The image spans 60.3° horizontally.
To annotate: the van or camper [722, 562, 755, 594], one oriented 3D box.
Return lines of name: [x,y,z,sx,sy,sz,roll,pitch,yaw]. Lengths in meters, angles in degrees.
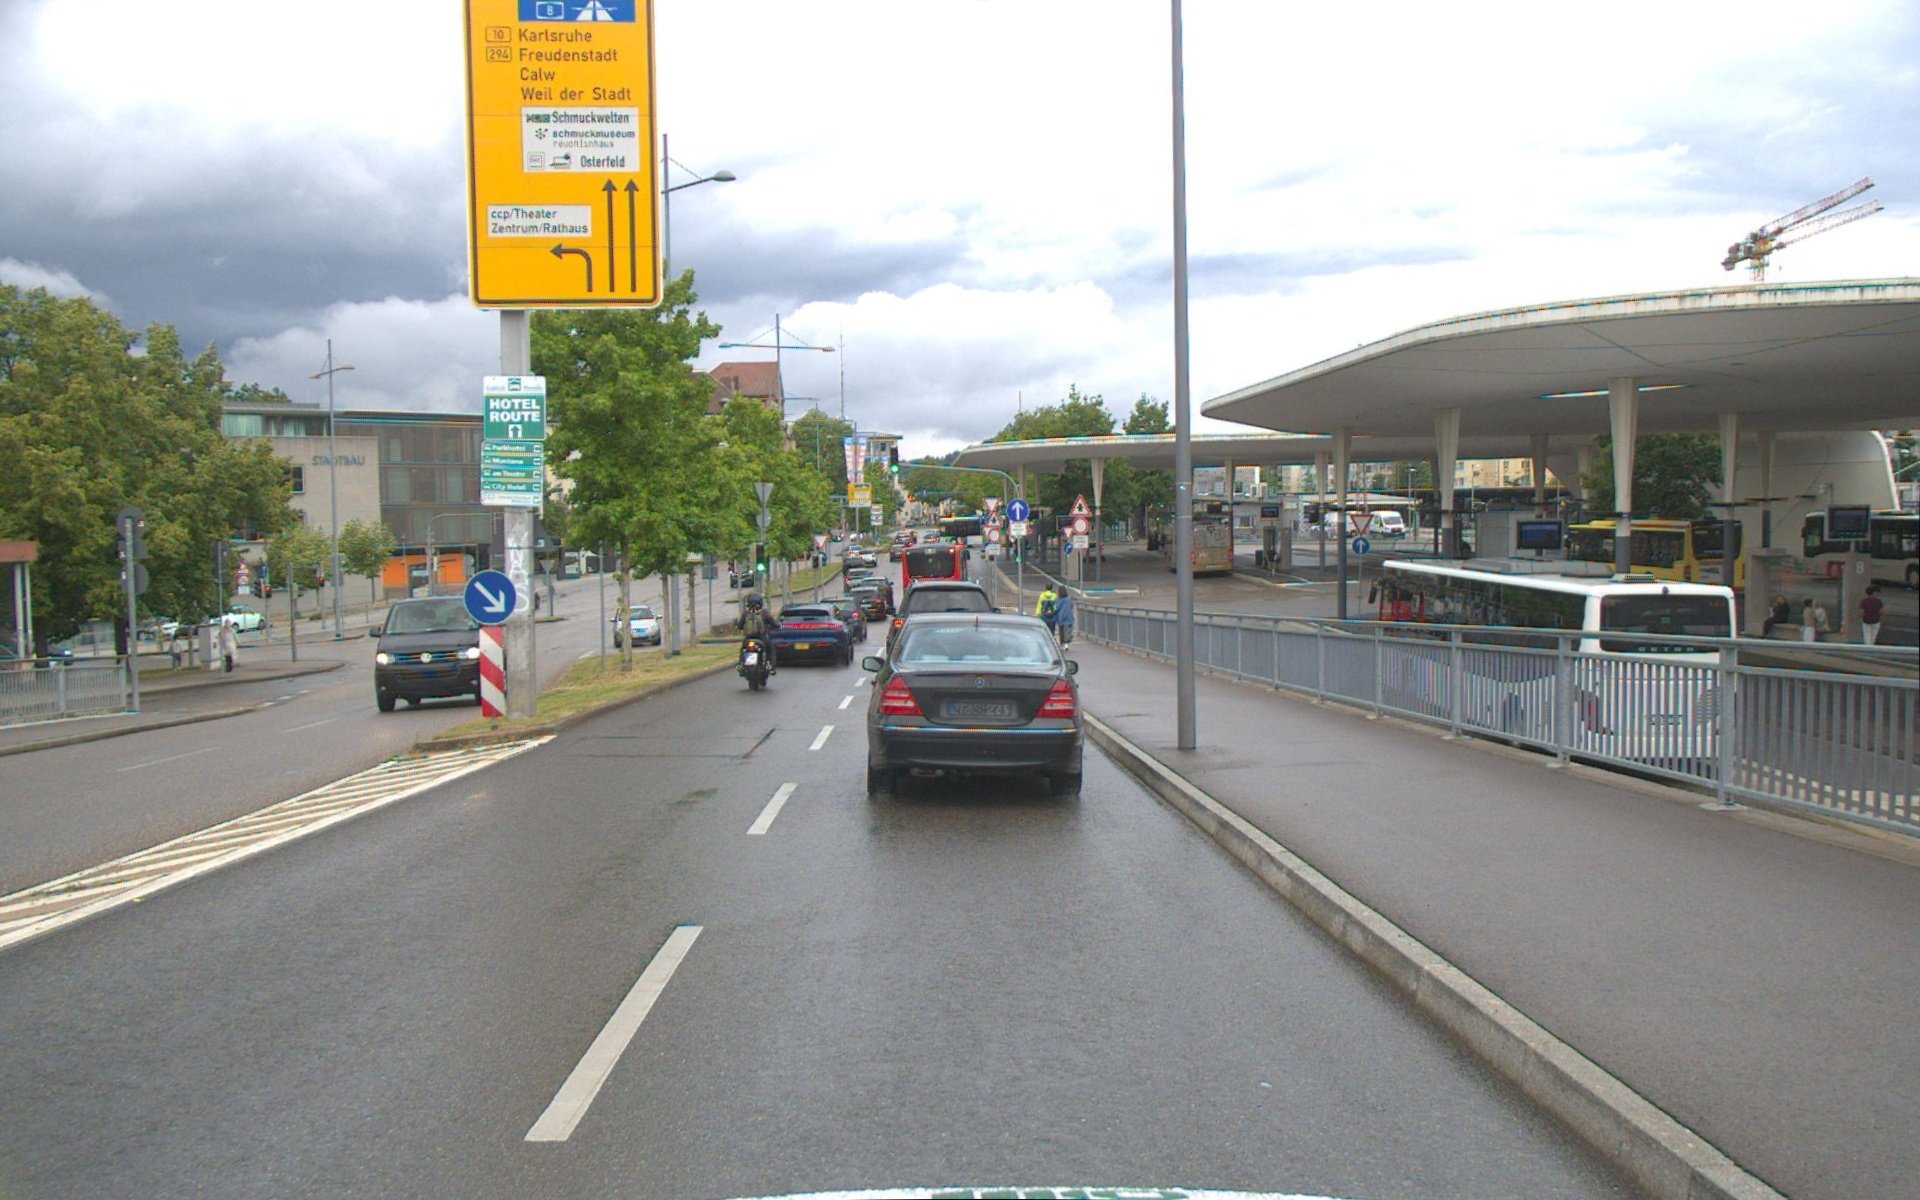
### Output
van or camper: [-16.321,-1.609,121.715,2.176,2.108,5.271,-4,0,-10]

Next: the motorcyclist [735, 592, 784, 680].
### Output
motorcyclist: [-3.333,0.593,27.483,0.628,1.370,0.689,-3,3,2]

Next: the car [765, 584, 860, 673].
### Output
car: [-3.379,0.609,38.570,1.780,1.597,4.405,-5,4,-1]

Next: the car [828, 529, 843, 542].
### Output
car: [-17.027,-8.765,225.857,1.744,1.593,3.430,-5,4,-1]

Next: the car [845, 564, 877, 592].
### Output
car: [-6.139,-1.349,103.095,1.828,1.713,3.999,1,0,-2]

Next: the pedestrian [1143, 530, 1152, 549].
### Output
pedestrian: [15.919,-5.141,140.055,0.568,1.606,0.560,1,-1,28]

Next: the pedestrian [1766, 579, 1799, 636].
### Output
pedestrian: [23.566,0.225,47.386,0.577,1.617,0.677,1,-1,-5]

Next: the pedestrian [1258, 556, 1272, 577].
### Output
pedestrian: [19.134,-2.097,103.752,0.776,1.247,0.634,-2,3,16]

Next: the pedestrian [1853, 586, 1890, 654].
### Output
pedestrian: [23.207,0.494,42.120,0.637,1.683,0.630,-5,4,-41]

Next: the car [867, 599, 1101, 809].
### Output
car: [0.121,0.750,13.897,1.663,1.487,4.302,0,0,-1]

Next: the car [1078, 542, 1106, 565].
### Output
car: [10.290,-3.633,128.759,1.677,1.690,4.240,-2,3,-2]

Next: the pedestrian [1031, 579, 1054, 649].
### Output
pedestrian: [2.033,0.350,40.796,0.512,1.699,0.580,-1,0,-2]

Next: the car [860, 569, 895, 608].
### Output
car: [-4.129,-0.593,83.167,1.544,1.593,3.872,-5,4,-1]

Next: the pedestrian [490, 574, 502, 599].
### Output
pedestrian: [-32.982,-0.938,117.501,0.464,1.712,0.764,-3,3,5]

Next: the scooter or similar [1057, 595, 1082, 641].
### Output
scooter or similar: [3.039,0.491,45.932,0.454,1.242,1.859,-3,0,-2]

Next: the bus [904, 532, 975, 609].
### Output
bus: [-1.003,-1.613,84.330,3.224,3.345,8.852,-3,3,0]

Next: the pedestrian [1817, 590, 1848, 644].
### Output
pedestrian: [23.634,0.462,44.802,0.557,1.417,0.558,-2,3,5]

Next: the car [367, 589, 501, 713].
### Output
car: [-9.362,0.867,29.763,1.813,2.002,4.670,-2,0,-12]

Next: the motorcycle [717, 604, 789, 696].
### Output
motorcycle: [-3.385,0.803,27.217,0.776,1.283,1.856,-4,3,3]

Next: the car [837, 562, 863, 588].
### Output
car: [-8.448,-1.908,126.881,1.761,1.940,3.639,1,0,-1]

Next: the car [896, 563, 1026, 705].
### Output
car: [-0.021,0.488,28.613,1.918,1.907,4.874,-5,4,-1]

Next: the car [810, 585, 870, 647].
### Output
car: [-3.921,0.501,54.592,1.642,1.650,3.872,-5,4,-1]

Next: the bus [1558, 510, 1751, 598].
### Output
bus: [29.817,-2.163,71.811,2.733,3.313,12.139,-2,3,-3]

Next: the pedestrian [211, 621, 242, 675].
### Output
pedestrian: [-22.956,1.498,51.771,0.639,1.597,0.630,-4,1,-9]

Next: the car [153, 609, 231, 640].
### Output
car: [-45.298,1.433,97.581,1.731,1.521,3.774,-1,4,37]

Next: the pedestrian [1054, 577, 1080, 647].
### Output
pedestrian: [2.637,0.305,40.700,0.577,1.700,0.580,0,-2,-2]

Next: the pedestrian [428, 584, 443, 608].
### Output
pedestrian: [-33.227,-0.255,104.706,0.665,1.416,0.721,-2,2,-3]

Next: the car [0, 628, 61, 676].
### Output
car: [-34.888,1.948,59.544,1.697,1.534,4.033,0,4,42]

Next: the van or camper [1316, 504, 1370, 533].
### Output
van or camper: [36.262,-7.698,156.643,4.515,2.602,2.118,0,1,-3]

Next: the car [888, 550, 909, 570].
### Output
car: [-5.608,-3.657,150.987,1.828,1.713,3.999,1,0,-2]

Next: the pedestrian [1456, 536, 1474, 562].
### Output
pedestrian: [31.760,-3.185,104.037,0.779,1.613,0.907,-1,2,-7]

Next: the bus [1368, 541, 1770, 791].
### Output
bus: [11.027,0.821,32.022,2.787,3.419,12.428,1,4,-2]

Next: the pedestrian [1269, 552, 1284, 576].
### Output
pedestrian: [19.448,-2.212,101.622,0.776,1.401,0.634,-2,3,16]

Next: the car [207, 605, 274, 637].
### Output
car: [-40.899,1.179,94.119,1.593,1.521,3.587,-2,3,14]

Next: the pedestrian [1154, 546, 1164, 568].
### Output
pedestrian: [15.572,-3.368,129.451,0.549,1.721,0.613,-2,3,-8]

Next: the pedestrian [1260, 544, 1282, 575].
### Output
pedestrian: [17.568,-2.293,93.447,0.709,1.712,1.012,-5,3,-27]

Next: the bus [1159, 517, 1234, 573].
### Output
bus: [14.755,-3.544,104.089,2.666,3.095,12.091,-3,3,-1]

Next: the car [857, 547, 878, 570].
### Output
car: [-7.845,-3.518,140.953,1.608,1.836,3.639,1,0,-1]

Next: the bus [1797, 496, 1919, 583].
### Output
bus: [39.648,-2.645,69.735,2.416,3.312,11.973,-3,4,-1]

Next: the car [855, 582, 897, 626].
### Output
car: [-3.650,0.156,72.429,1.544,1.530,3.872,-5,4,0]

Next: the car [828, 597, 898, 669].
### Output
car: [-2.695,0.887,46.795,1.706,1.593,3.872,-5,4,-1]

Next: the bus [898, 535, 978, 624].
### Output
bus: [-0.975,-1.086,75.736,3.219,3.347,10.881,-3,3,0]

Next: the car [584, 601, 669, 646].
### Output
car: [-12.269,0.853,60.767,1.619,1.473,3.829,-5,2,-35]

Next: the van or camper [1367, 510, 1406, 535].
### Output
van or camper: [38.615,-7.026,150.007,1.953,2.139,5.479,0,1,-2]

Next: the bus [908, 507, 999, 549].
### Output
bus: [-0.792,-7.638,176.395,2.821,4.056,11.692,-5,4,-40]
